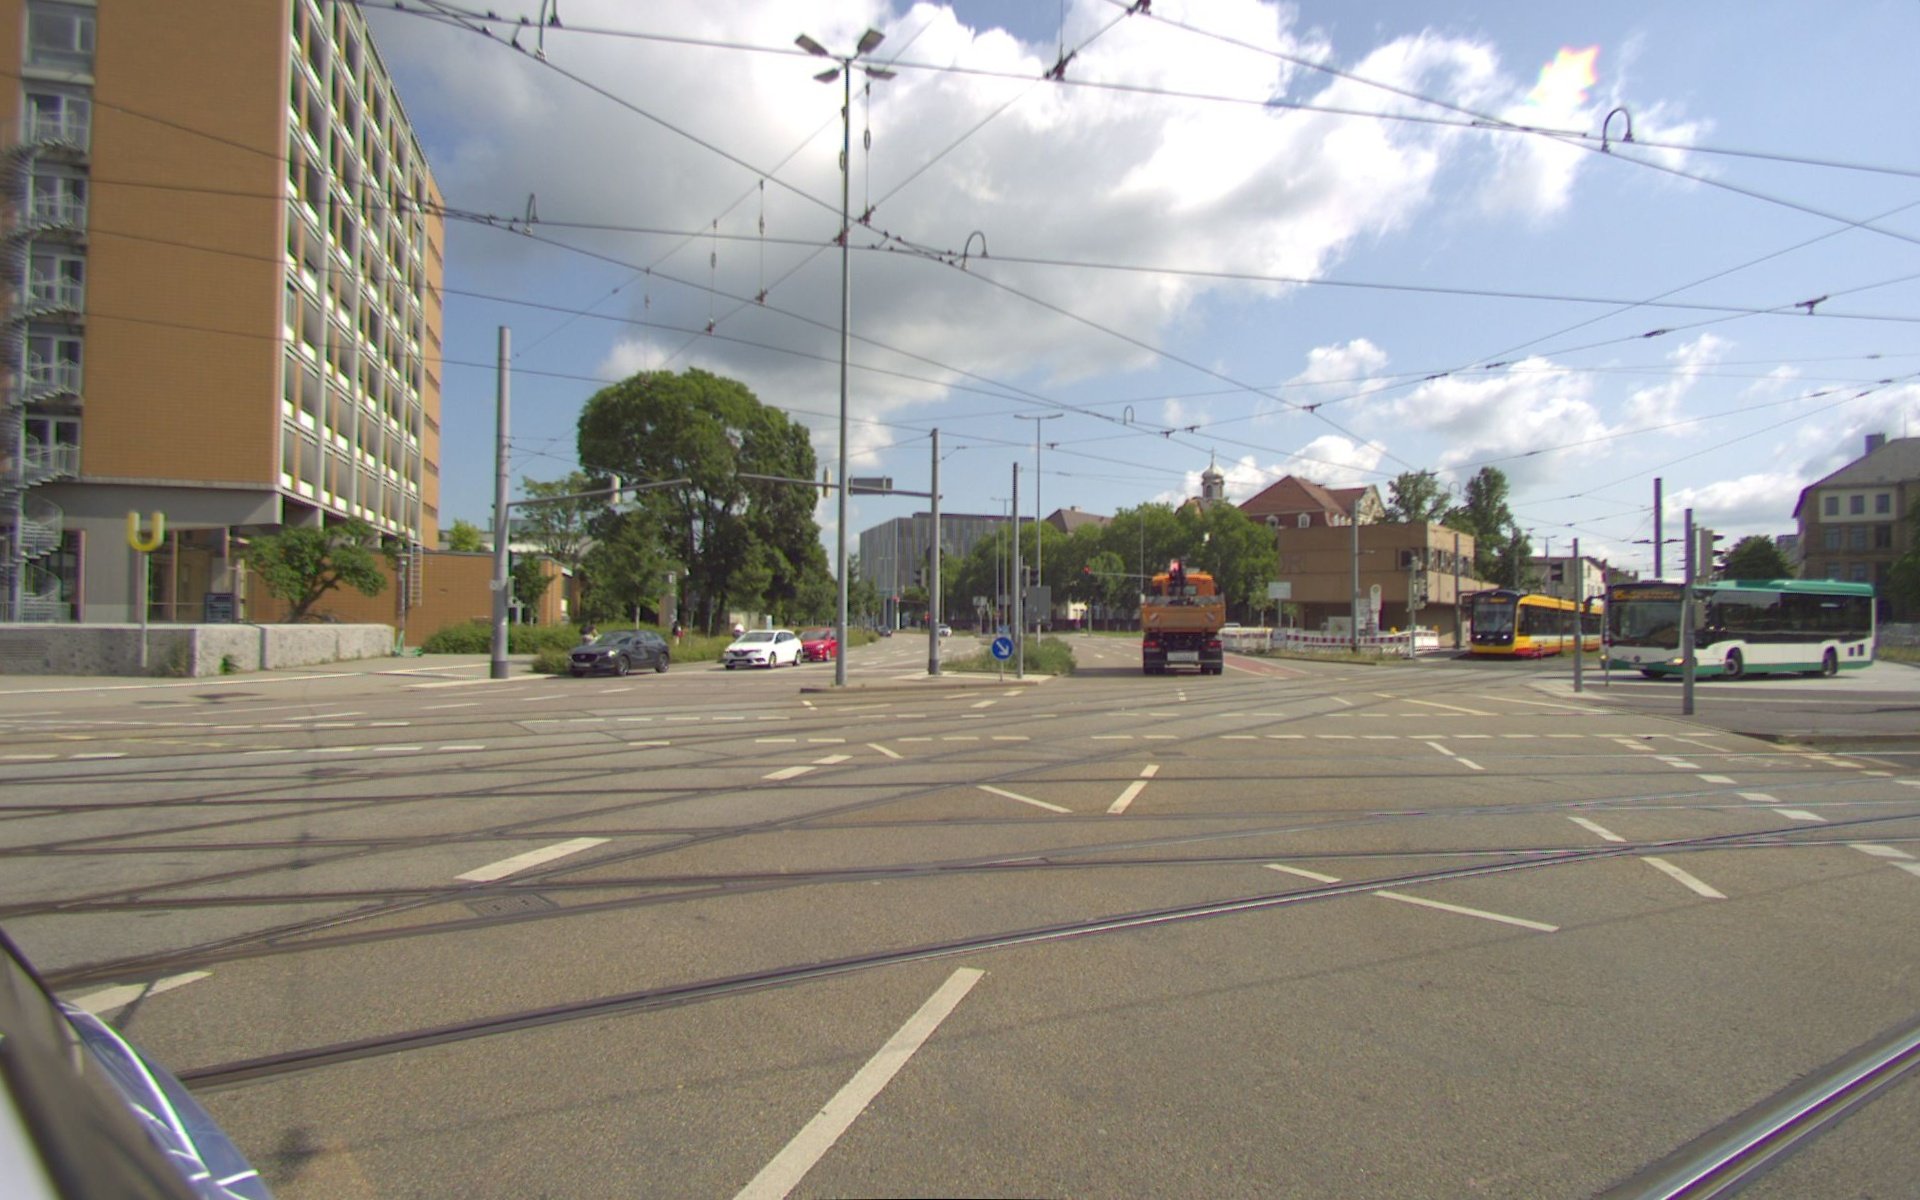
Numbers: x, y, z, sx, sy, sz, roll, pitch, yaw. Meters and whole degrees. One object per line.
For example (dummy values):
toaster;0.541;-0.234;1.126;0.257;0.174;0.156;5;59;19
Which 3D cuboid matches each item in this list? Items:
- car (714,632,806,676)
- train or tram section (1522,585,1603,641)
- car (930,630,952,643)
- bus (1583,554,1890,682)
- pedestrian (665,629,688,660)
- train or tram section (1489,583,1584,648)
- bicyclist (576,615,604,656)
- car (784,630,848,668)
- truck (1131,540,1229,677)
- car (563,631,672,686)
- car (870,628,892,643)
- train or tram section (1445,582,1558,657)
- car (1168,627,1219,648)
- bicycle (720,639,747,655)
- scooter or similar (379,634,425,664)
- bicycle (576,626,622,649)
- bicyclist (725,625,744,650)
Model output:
car;-7.475;1.980;38.231;1.745;1.440;4.657;-2;-1;11
train or tram section;41.350;0.830;69.232;3.320;3.507;10.471;-3;-2;38
car;-2.346;4.393;122.399;1.801;1.537;4.011;0;-2;-15
bus;25.480;0.633;32.917;12.163;3.648;2.925;1;-2;-27
pedestrian;-14.809;2.338;52.859;0.941;1.590;0.771;1;-2;-35
train or tram section;34.856;0.880;60.956;3.320;3.507;10.471;-3;-2;38
bicyclist;-15.335;1.464;41.963;0.576;1.684;0.929;0;-2;24
car;-6.261;2.120;44.511;1.628;1.479;4.053;-2;-1;9
truck;7.415;0.387;34.022;2.809;4.039;8.037;-1;-2;13
car;-11.282;1.893;33.666;1.628;1.588;4.199;-2;-1;9
car;-9.534;4.256;121.806;1.966;1.769;4.010;0;-2;-14
train or tram section;28.401;0.958;52.769;3.320;3.507;10.471;-3;-2;38
car;20.430;3.234;88.535;3.985;1.796;1.979;-1;-2;31
bicycle;-13.067;2.710;58.387;0.646;0.904;2.267;0;-2;11
scooter or similar;-22.445;1.964;40.700;1.513;1.192;0.435;4;-4;-42
bicycle;-15.089;1.565;42.345;0.756;0.881;1.794;2;-1;24
bicyclist;-13.059;2.162;58.563;0.629;1.468;1.165;-1;-2;12
